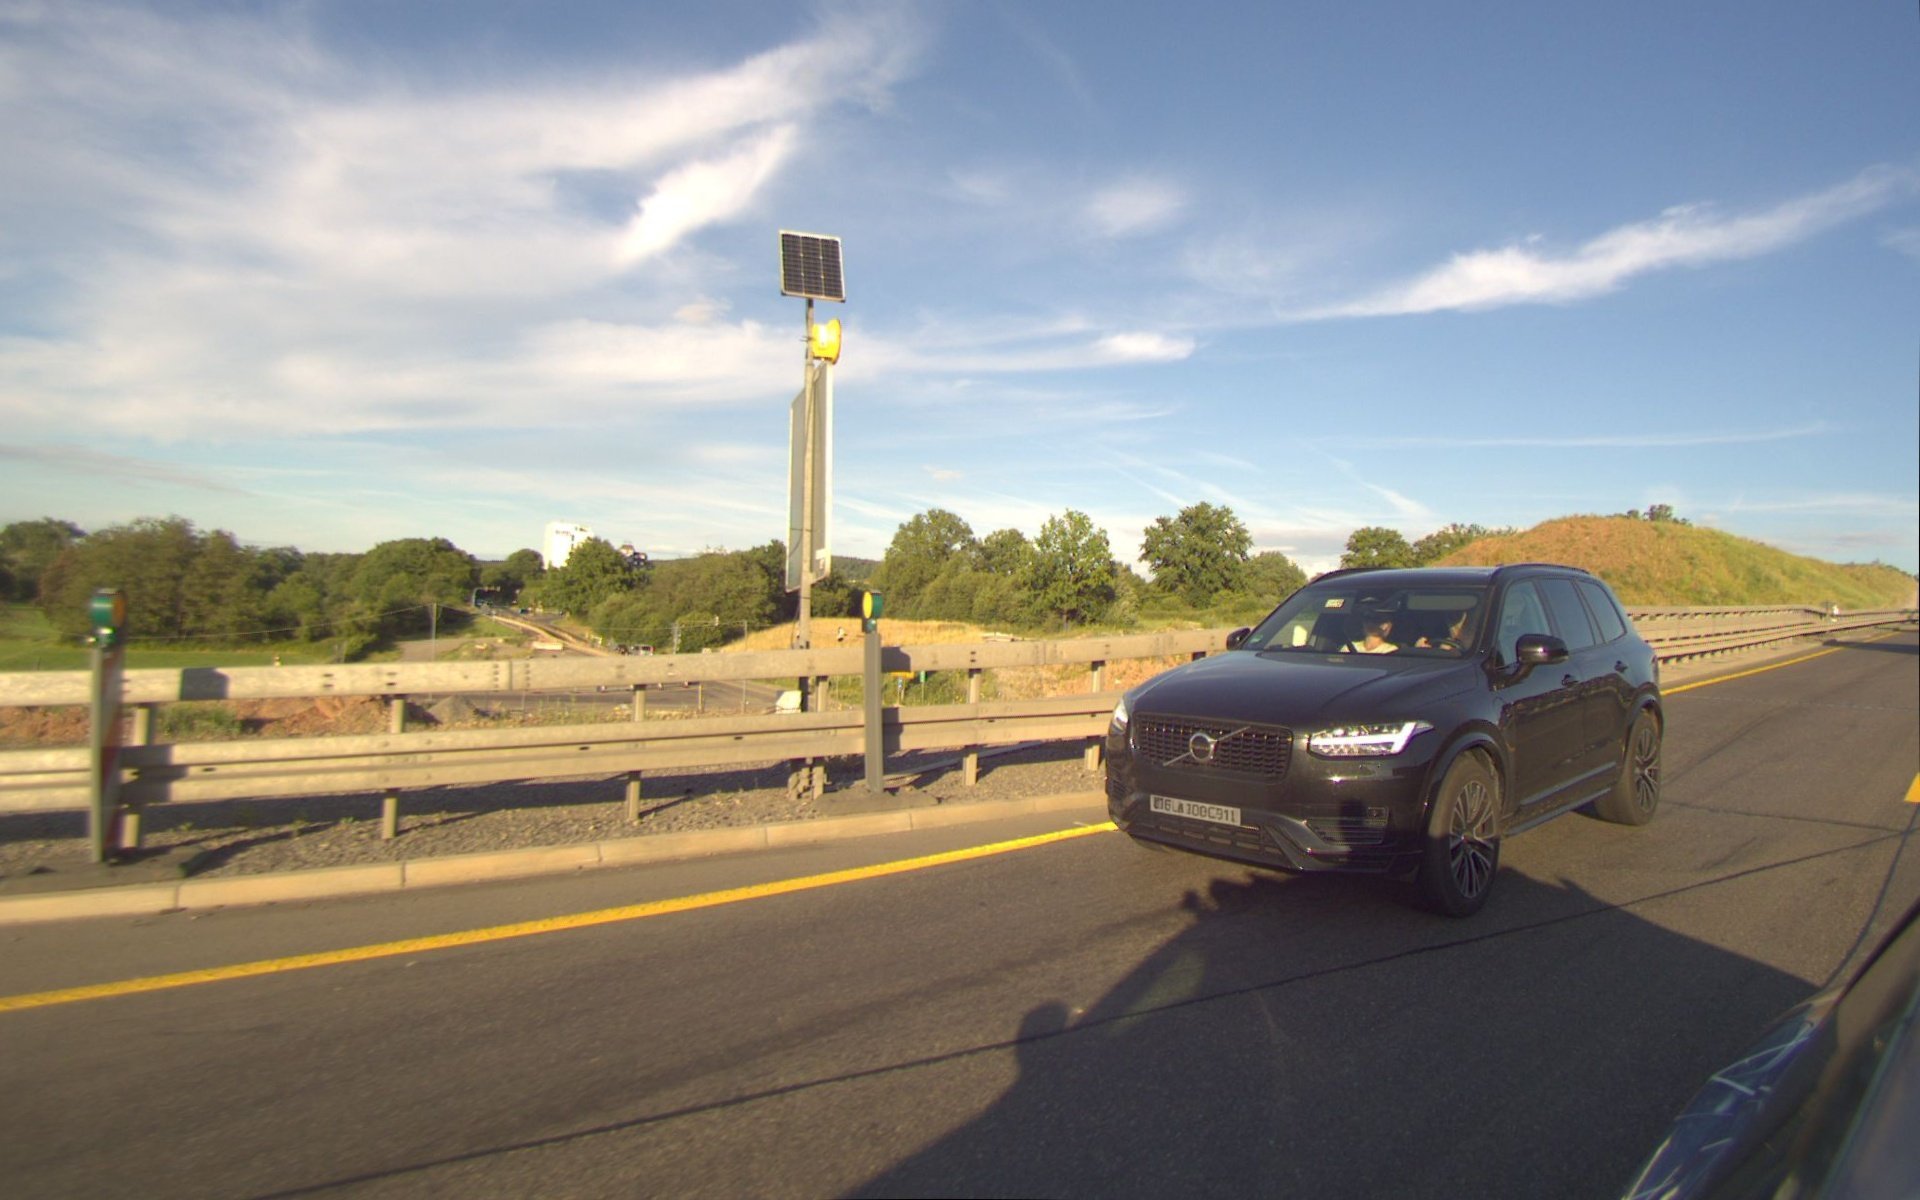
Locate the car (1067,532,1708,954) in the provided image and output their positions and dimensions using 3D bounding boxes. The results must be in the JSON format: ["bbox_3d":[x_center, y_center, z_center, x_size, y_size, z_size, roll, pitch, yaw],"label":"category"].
[{"bbox_3d":[3.011,0.582,6.481,4.803,1.735,1.900,0,0,-42],"label":"car"}]
